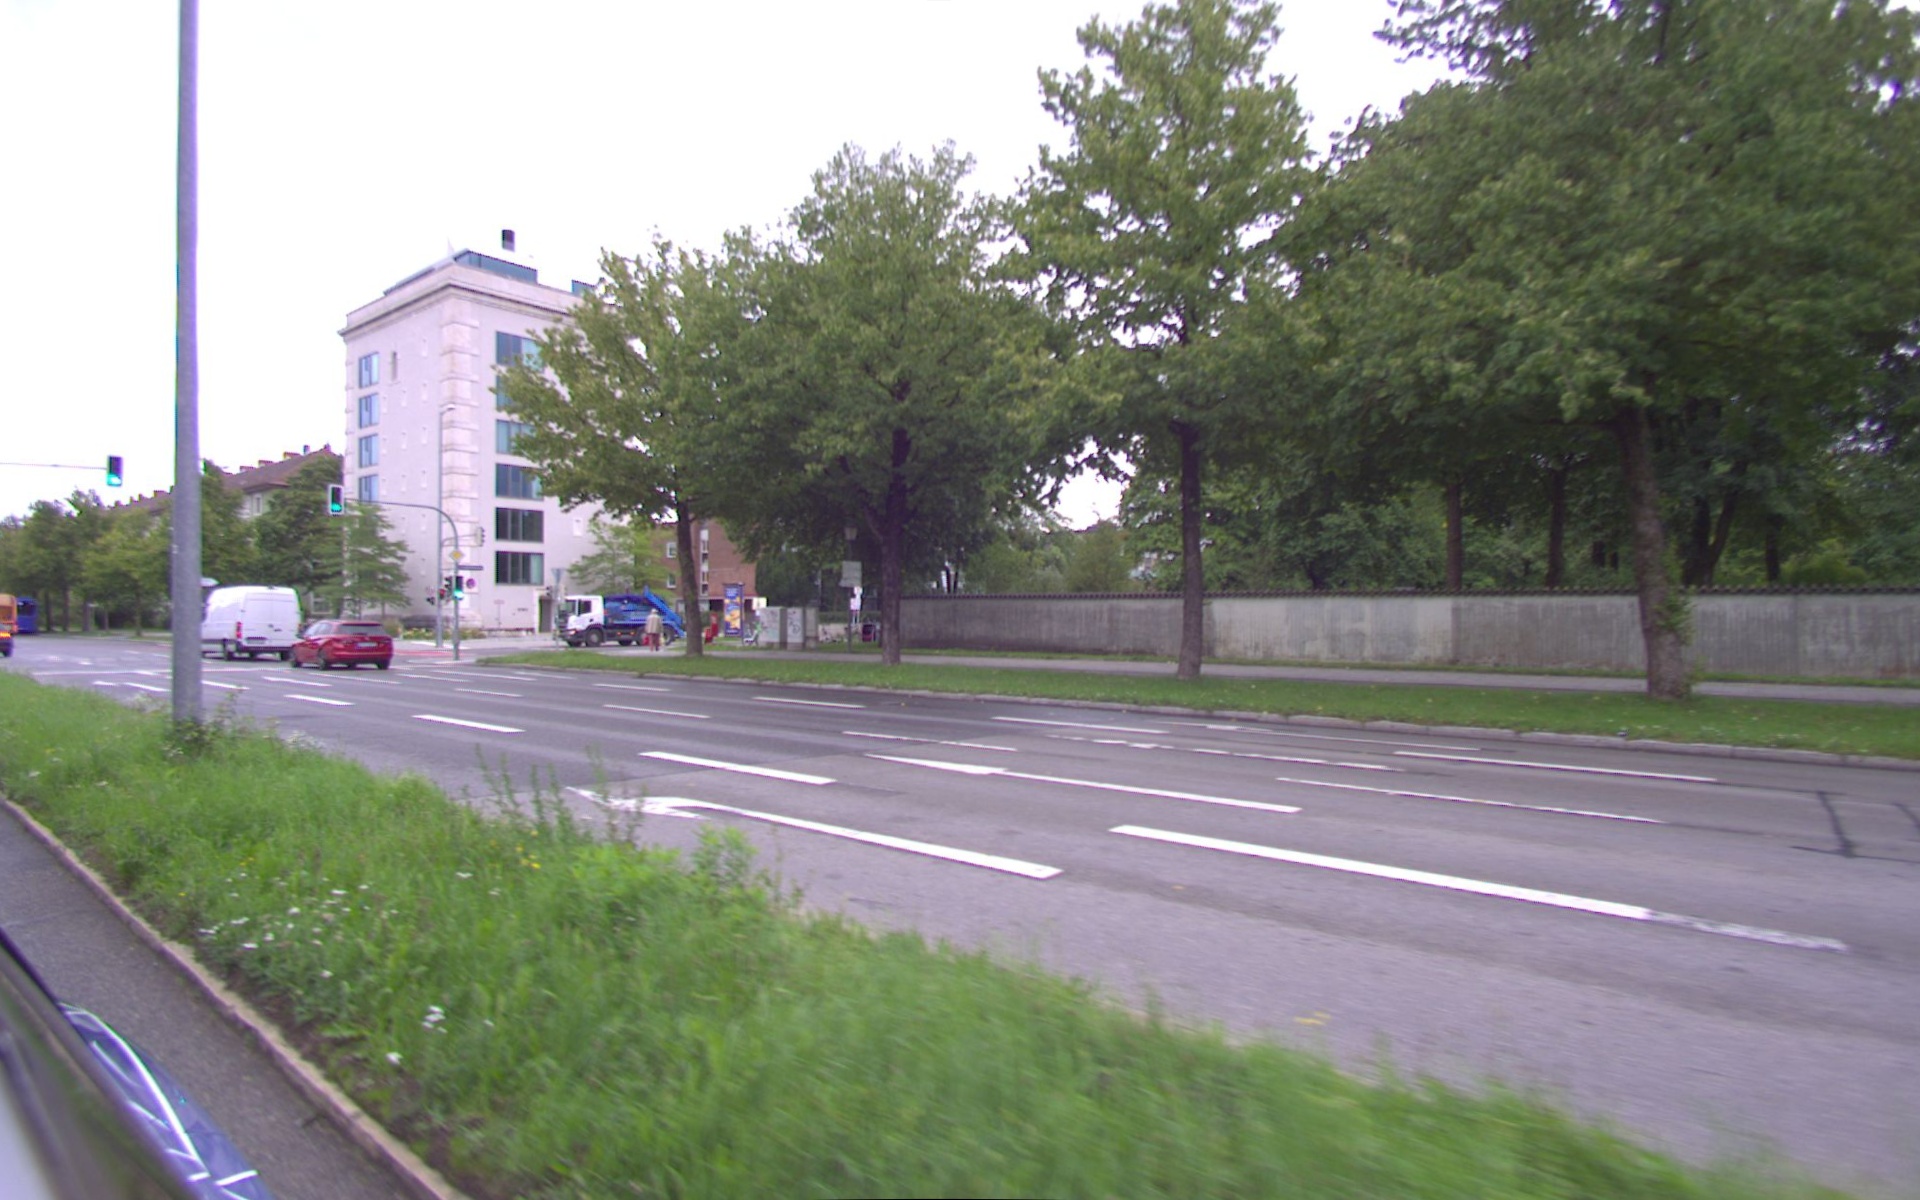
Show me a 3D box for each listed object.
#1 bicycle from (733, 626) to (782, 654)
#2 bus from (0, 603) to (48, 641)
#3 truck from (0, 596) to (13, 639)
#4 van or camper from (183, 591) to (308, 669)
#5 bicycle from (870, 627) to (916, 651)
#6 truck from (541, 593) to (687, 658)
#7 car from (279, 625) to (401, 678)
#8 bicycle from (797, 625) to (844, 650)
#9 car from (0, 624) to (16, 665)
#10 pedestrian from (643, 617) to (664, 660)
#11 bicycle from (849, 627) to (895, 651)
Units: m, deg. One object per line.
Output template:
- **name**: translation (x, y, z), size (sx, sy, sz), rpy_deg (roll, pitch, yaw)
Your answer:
- **bicycle**: translation (-9.274, 1.812, 46.256), size (2.494, 1.195, 0.827), rpy_deg (-1, -1, 40)
- **bus**: translation (-88.096, 2.108, 94.331), size (12.037, 3.369, 2.718), rpy_deg (-1, -3, 40)
- **truck**: translation (-77.586, 1.391, 80.330), size (7.261, 3.382, 2.752), rpy_deg (-1, -1, 41)
- **van or camper**: translation (-26.530, 1.115, 37.439), size (6.948, 2.667, 2.155), rpy_deg (-1, -3, 42)
- **bicycle**: translation (-3.480, 2.007, 52.485), size (2.494, 1.195, 0.827), rpy_deg (-1, -1, 40)
- **truck**: translation (-19.967, 1.444, 58.762), size (2.771, 3.515, 7.717), rpy_deg (-1, -1, 41)
- **car**: translation (-18.577, 1.520, 30.238), size (4.654, 1.463, 1.725), rpy_deg (-2, -4, 41)
- **bicycle**: translation (-6.839, 1.801, 49.402), size (2.494, 1.195, 0.827), rpy_deg (-1, -1, 40)
- **car**: translation (-36.425, 1.628, 37.102), size (3.766, 1.498, 1.628), rpy_deg (-1, -1, 30)
- **pedestrian**: translation (-12.784, 1.605, 42.200), size (0.516, 1.753, 0.701), rpy_deg (-1, -1, 36)
- **bicycle**: translation (-4.496, 1.964, 51.819), size (2.494, 1.195, 0.827), rpy_deg (-1, -1, 40)
